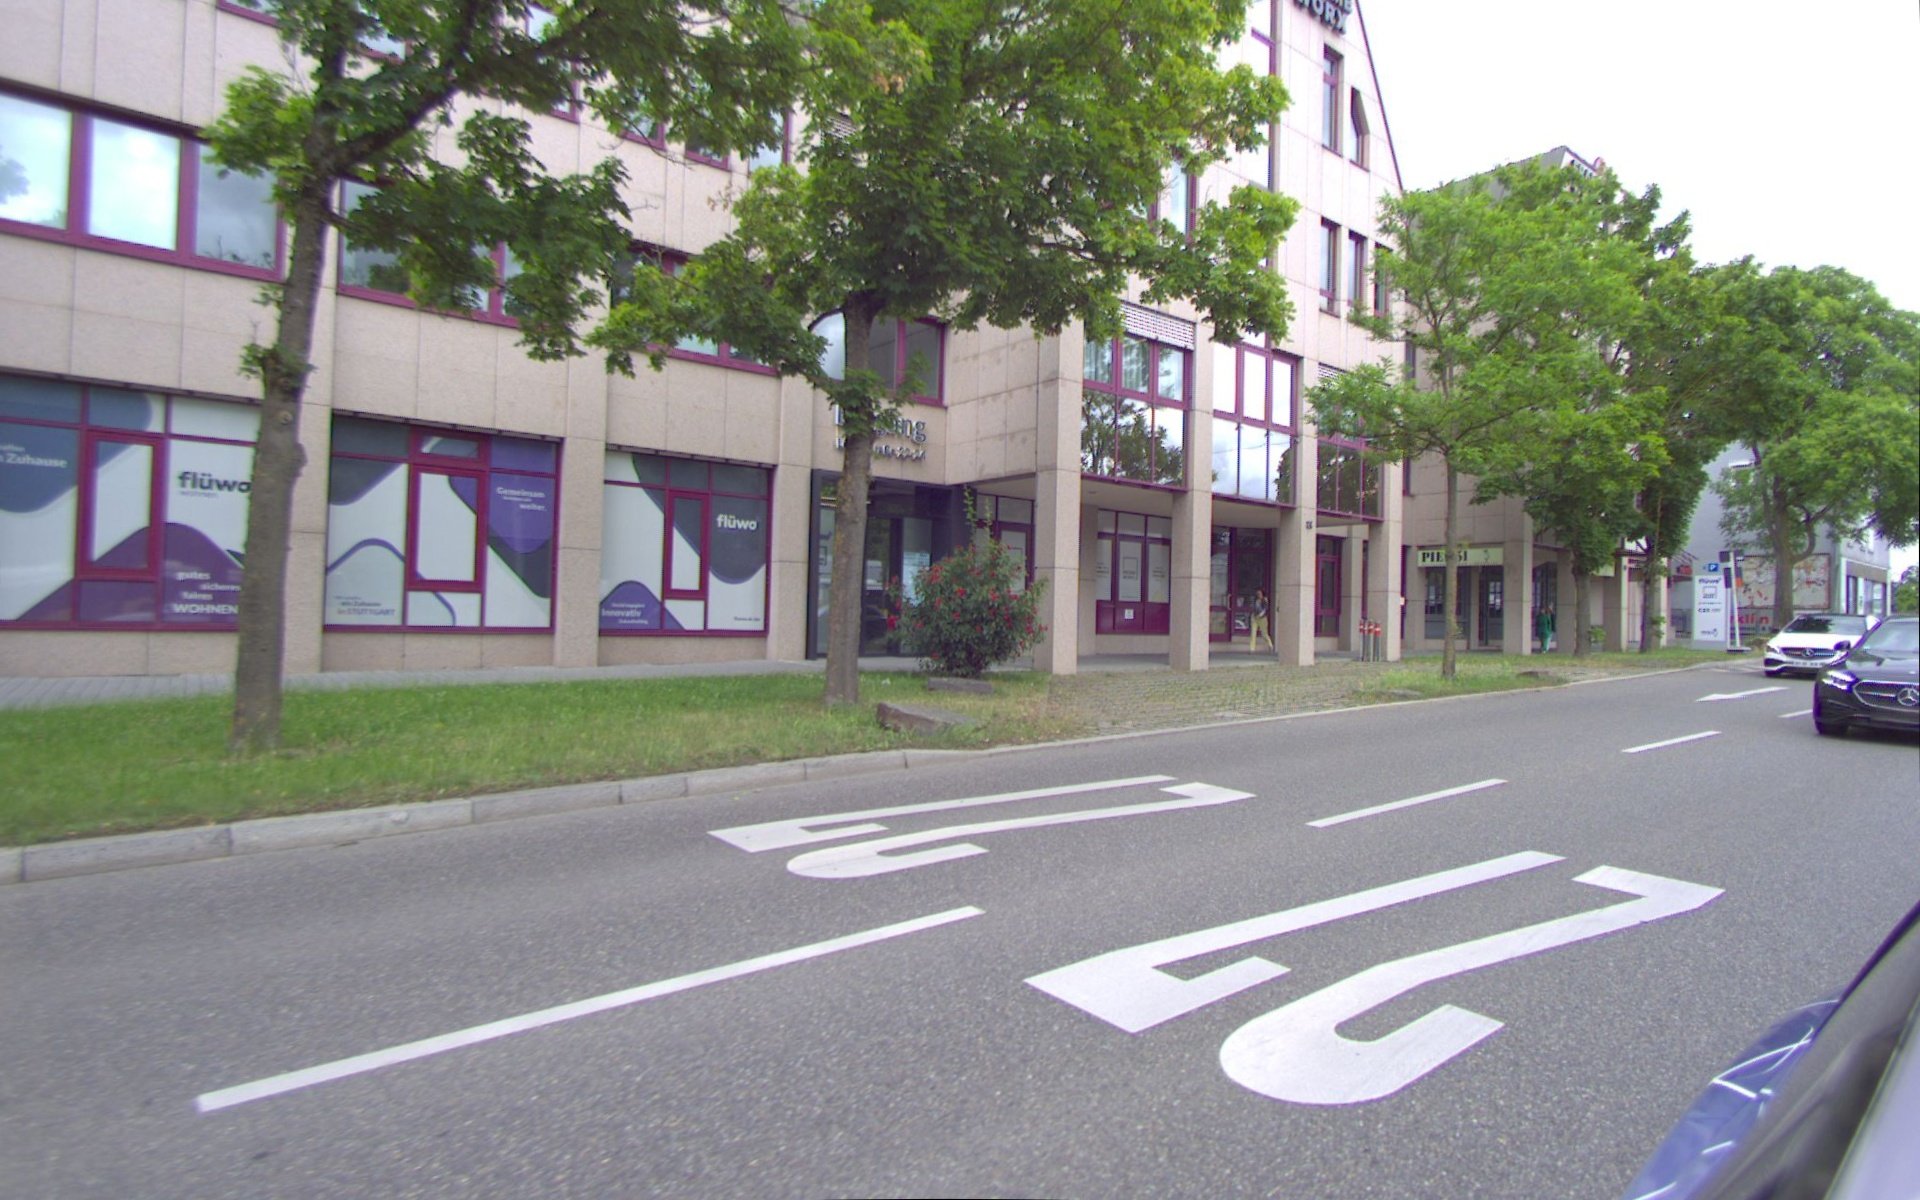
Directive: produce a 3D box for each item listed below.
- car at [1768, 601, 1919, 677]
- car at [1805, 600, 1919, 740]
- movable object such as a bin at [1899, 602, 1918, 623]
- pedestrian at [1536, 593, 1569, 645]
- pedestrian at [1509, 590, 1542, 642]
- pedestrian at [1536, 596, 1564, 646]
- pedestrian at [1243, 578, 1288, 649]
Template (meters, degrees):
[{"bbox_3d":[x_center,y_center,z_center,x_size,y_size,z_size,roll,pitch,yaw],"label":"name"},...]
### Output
[{"bbox_3d":[19.631,0.778,22.373,4.614,1.491,1.798,0,0,-38],"label":"car"},{"bbox_3d":[12.380,0.790,12.506,4.882,1.505,2.058,1,0,-39],"label":"car"},{"bbox_3d":[49.164,0.641,52.446,0.697,1.118,0.610,1,-1,-38],"label":"movable object such as a bin"},{"bbox_3d":[19.952,0.634,34.072,0.827,1.712,0.659,1,1,-37],"label":"pedestrian"},{"bbox_3d":[19.369,0.534,34.662,0.827,1.712,0.659,1,1,-37],"label":"pedestrian"},{"bbox_3d":[18.891,0.658,32.407,0.534,1.569,0.563,1,1,-37],"label":"pedestrian"},{"bbox_3d":[7.566,0.325,25.076,0.951,1.726,0.596,1,0,-37],"label":"pedestrian"}]
